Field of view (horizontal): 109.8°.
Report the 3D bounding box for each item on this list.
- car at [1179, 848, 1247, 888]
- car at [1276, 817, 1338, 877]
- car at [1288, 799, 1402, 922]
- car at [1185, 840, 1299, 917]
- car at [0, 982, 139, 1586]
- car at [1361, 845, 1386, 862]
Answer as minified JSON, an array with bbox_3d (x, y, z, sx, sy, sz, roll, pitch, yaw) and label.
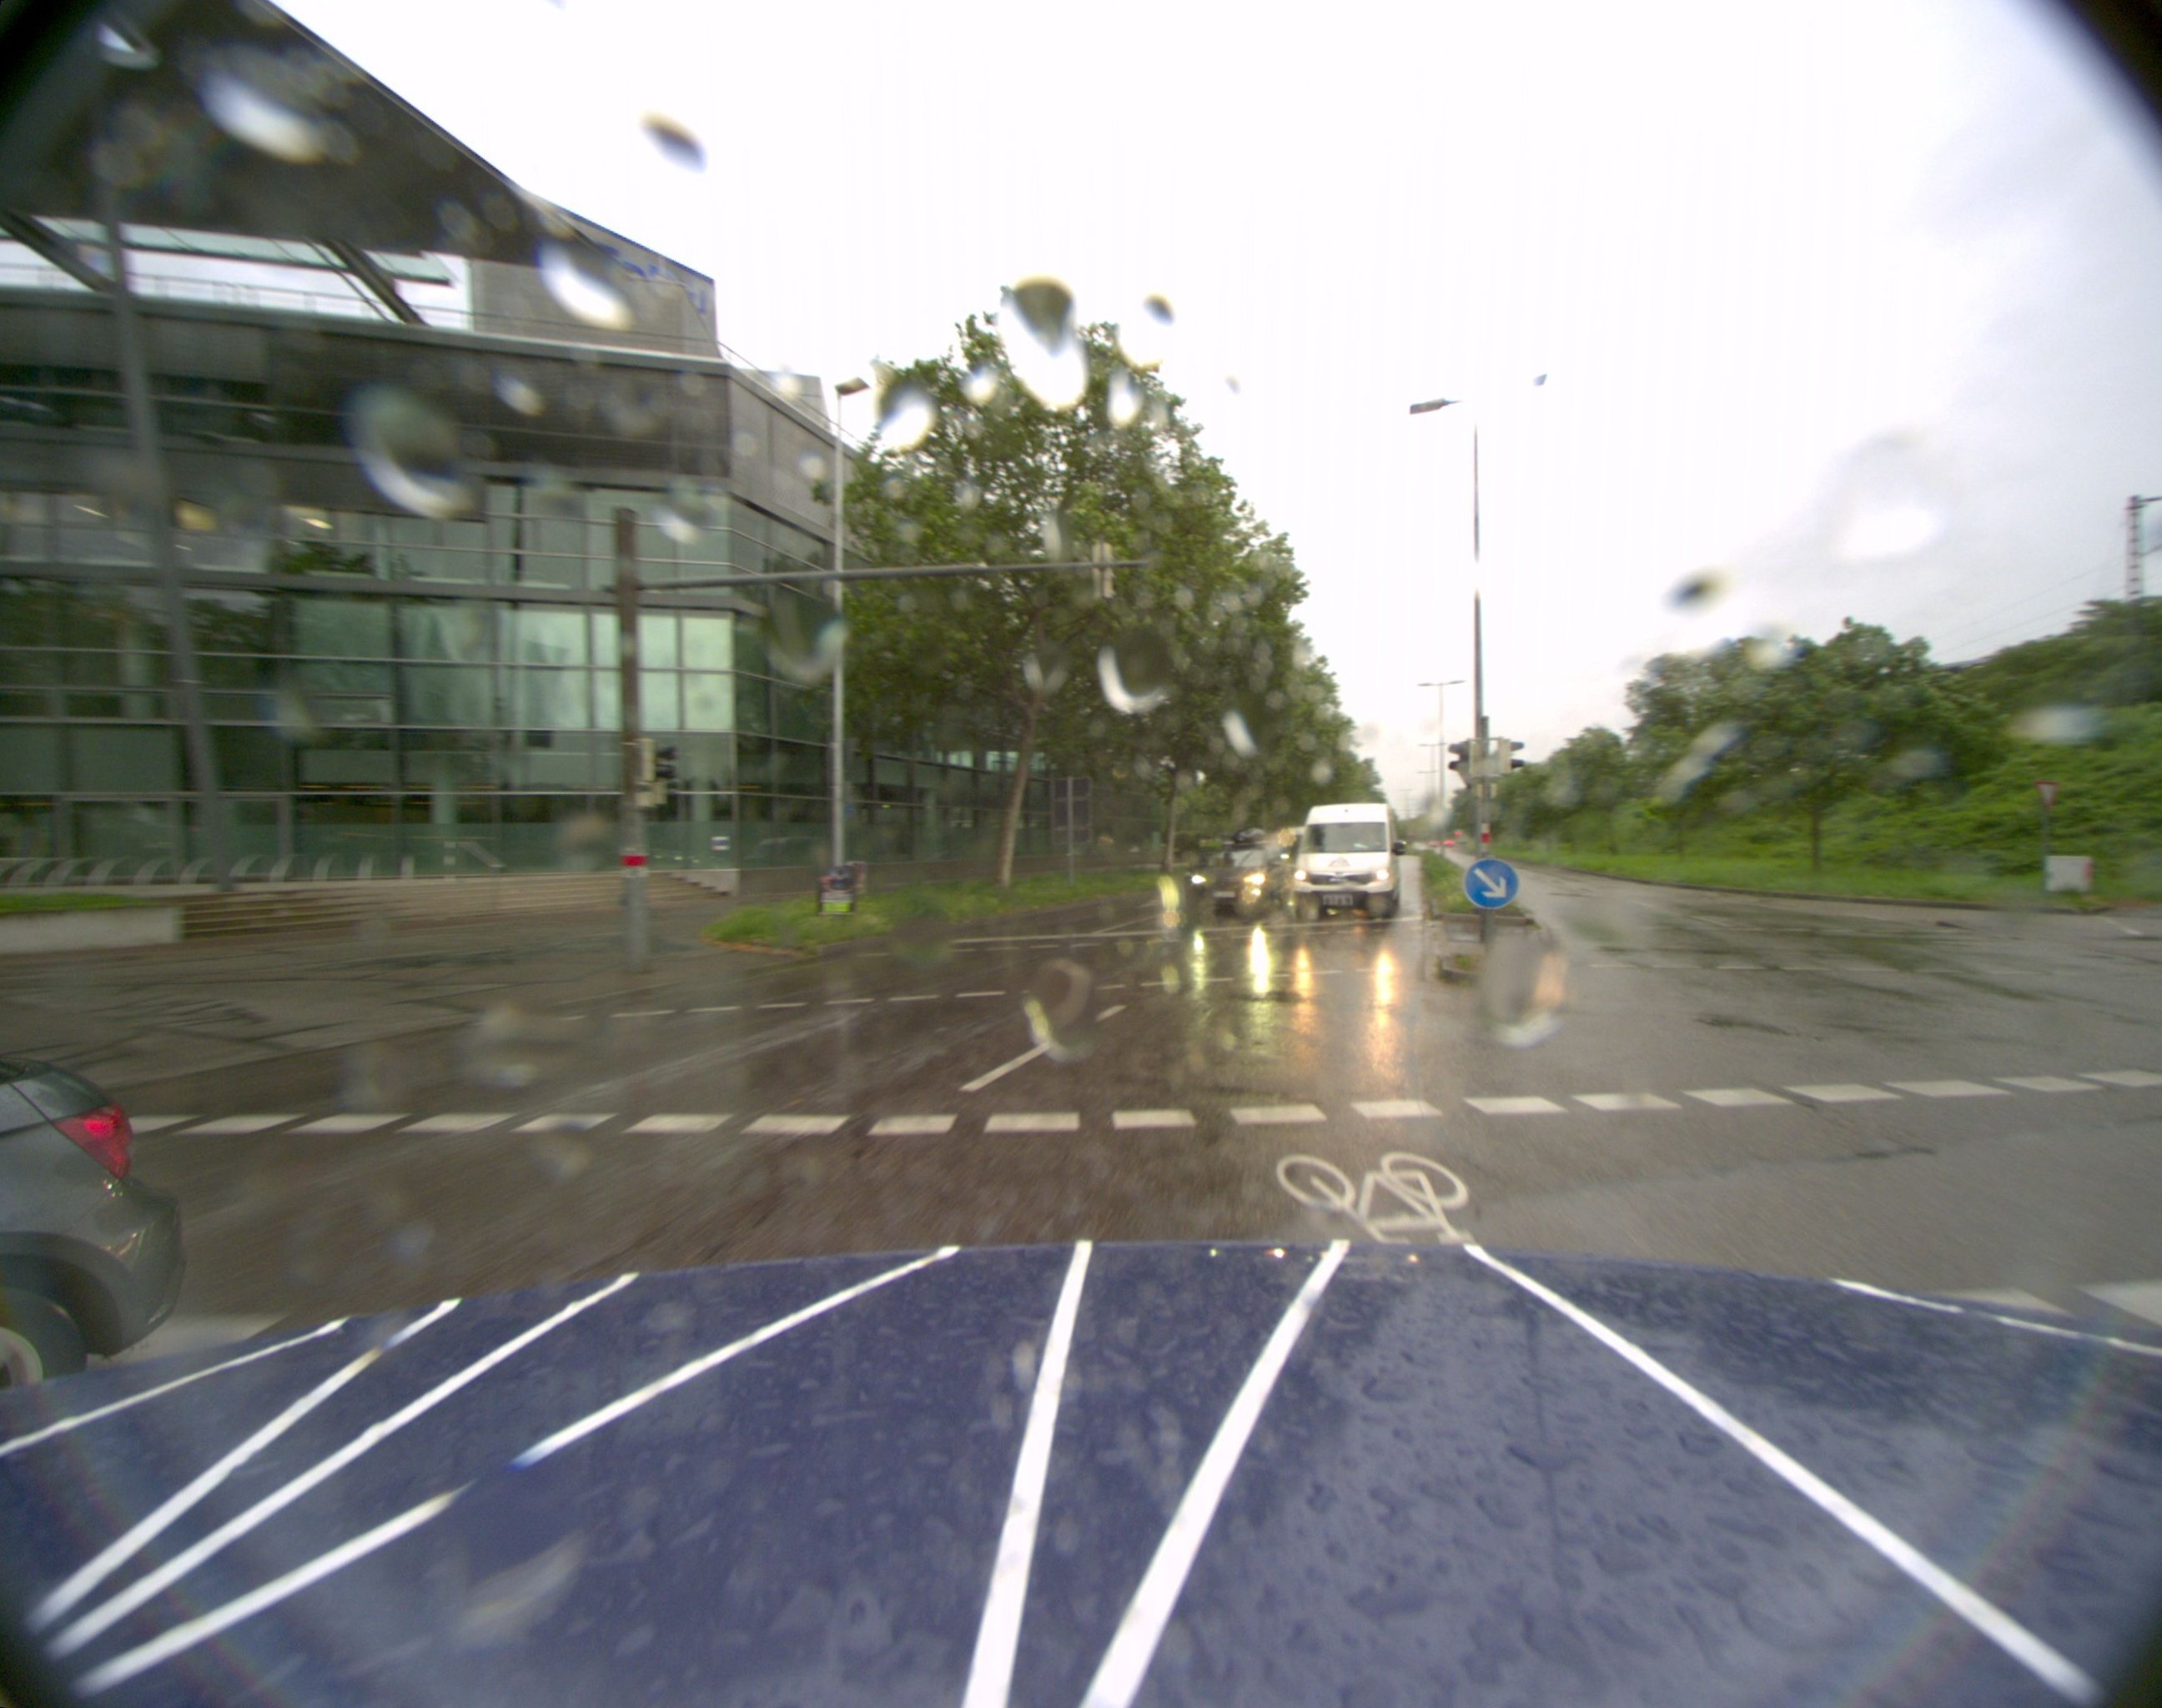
[{"bbox_3d":[5.272,0.519,29.945,1.799,1.428,4.006,-1,1,22],"label":"car"},{"bbox_3d":[10.046,-0.324,33.459,1.995,2.416,4.985,0,1,24],"label":"car"},{"bbox_3d":[6.439,0.064,18.018,1.965,2.420,5.971,0,1,25],"label":"car"},{"bbox_3d":[4.239,0.534,19.484,1.995,1.738,4.334,0,1,24],"label":"car"},{"bbox_3d":[-3.819,1.090,0.357,1.839,1.390,3.756,-2,1,12],"label":"car"},{"bbox_3d":[27.981,-0.076,72.694,1.905,1.576,3.931,0,2,26],"label":"car"}]
